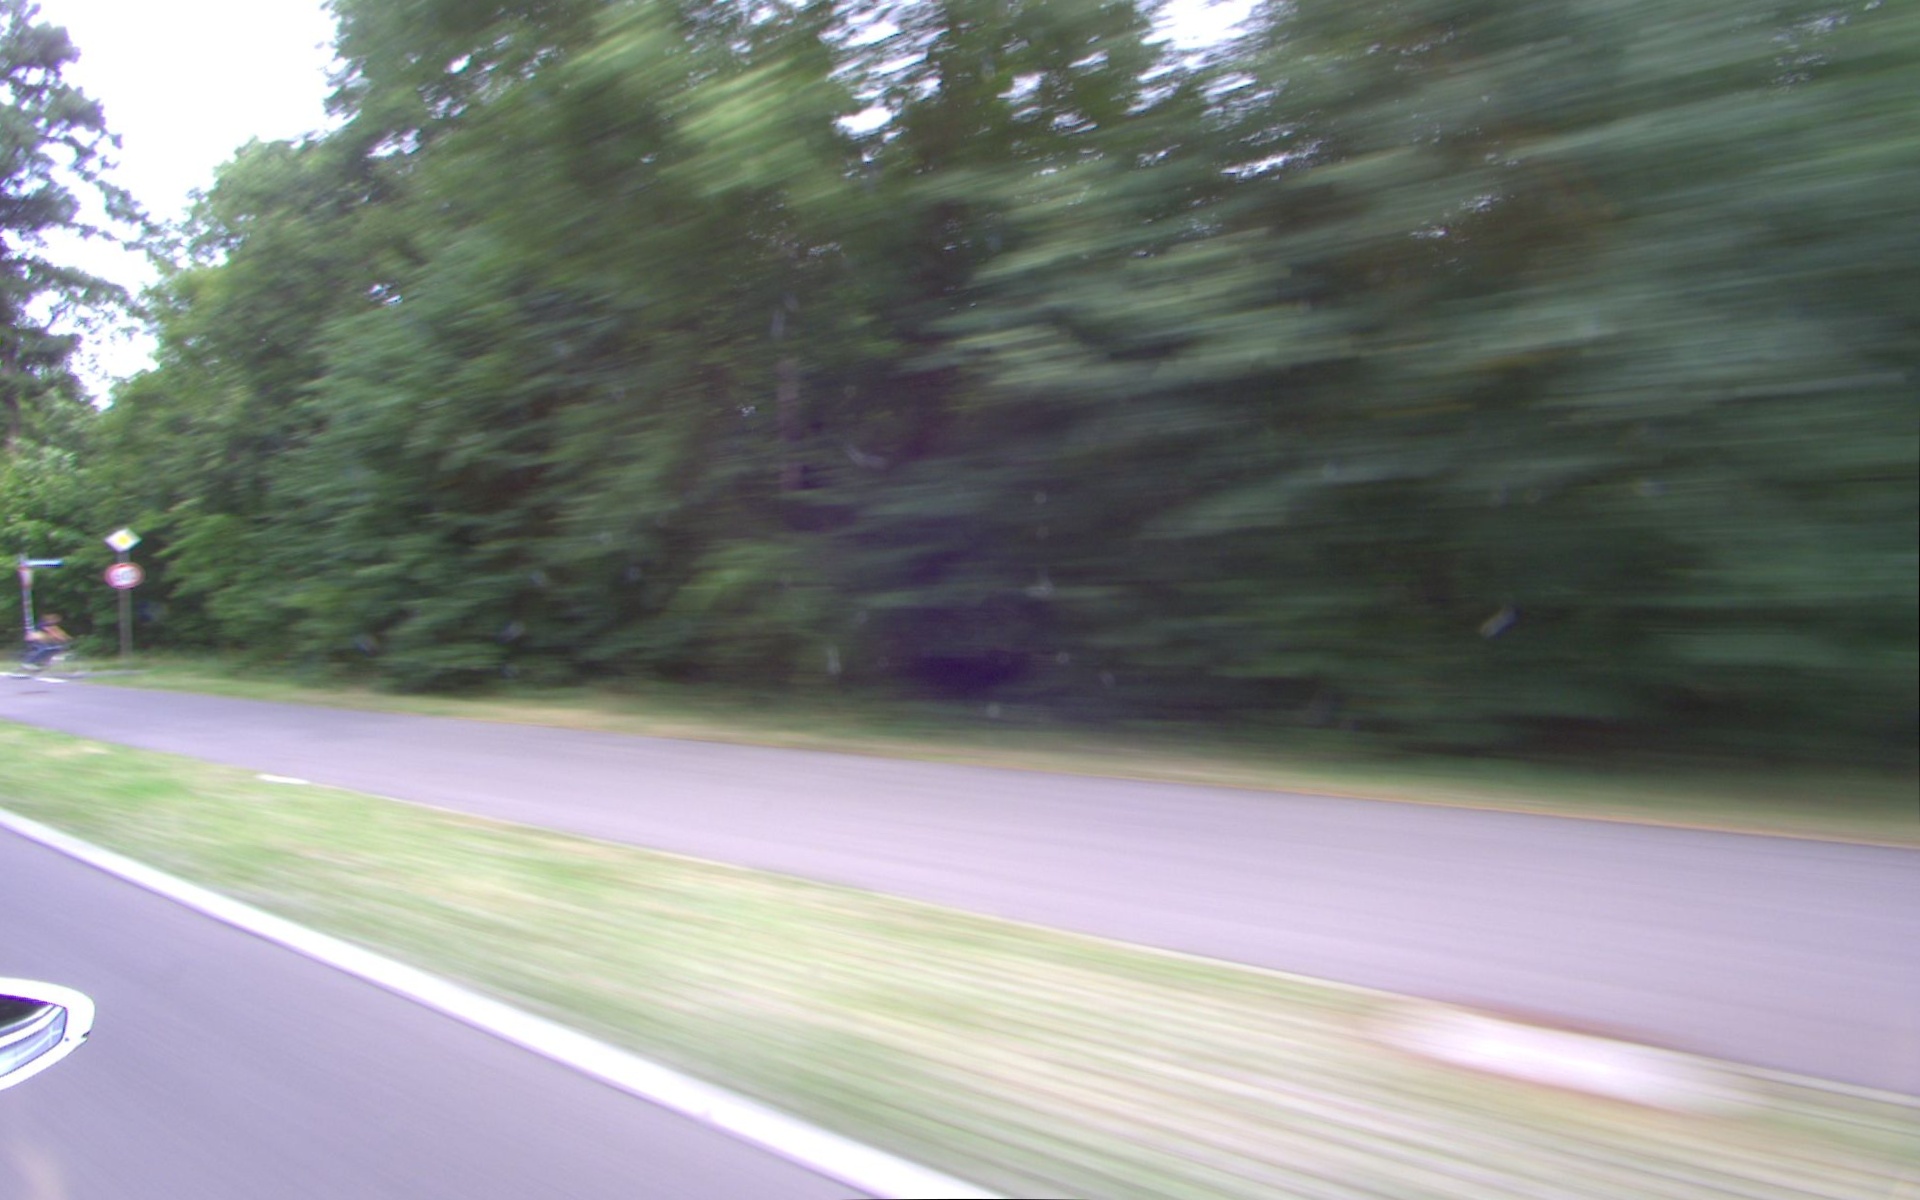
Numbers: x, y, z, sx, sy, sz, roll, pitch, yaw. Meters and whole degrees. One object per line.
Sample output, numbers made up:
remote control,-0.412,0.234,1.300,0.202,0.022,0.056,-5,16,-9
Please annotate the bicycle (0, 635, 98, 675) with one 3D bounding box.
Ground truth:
bicycle,-24.092,1.450,26.404,2.139,1.007,0.711,0,0,1

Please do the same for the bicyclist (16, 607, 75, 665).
bicyclist,-24.089,0.947,26.391,0.884,1.490,0.711,0,0,1
